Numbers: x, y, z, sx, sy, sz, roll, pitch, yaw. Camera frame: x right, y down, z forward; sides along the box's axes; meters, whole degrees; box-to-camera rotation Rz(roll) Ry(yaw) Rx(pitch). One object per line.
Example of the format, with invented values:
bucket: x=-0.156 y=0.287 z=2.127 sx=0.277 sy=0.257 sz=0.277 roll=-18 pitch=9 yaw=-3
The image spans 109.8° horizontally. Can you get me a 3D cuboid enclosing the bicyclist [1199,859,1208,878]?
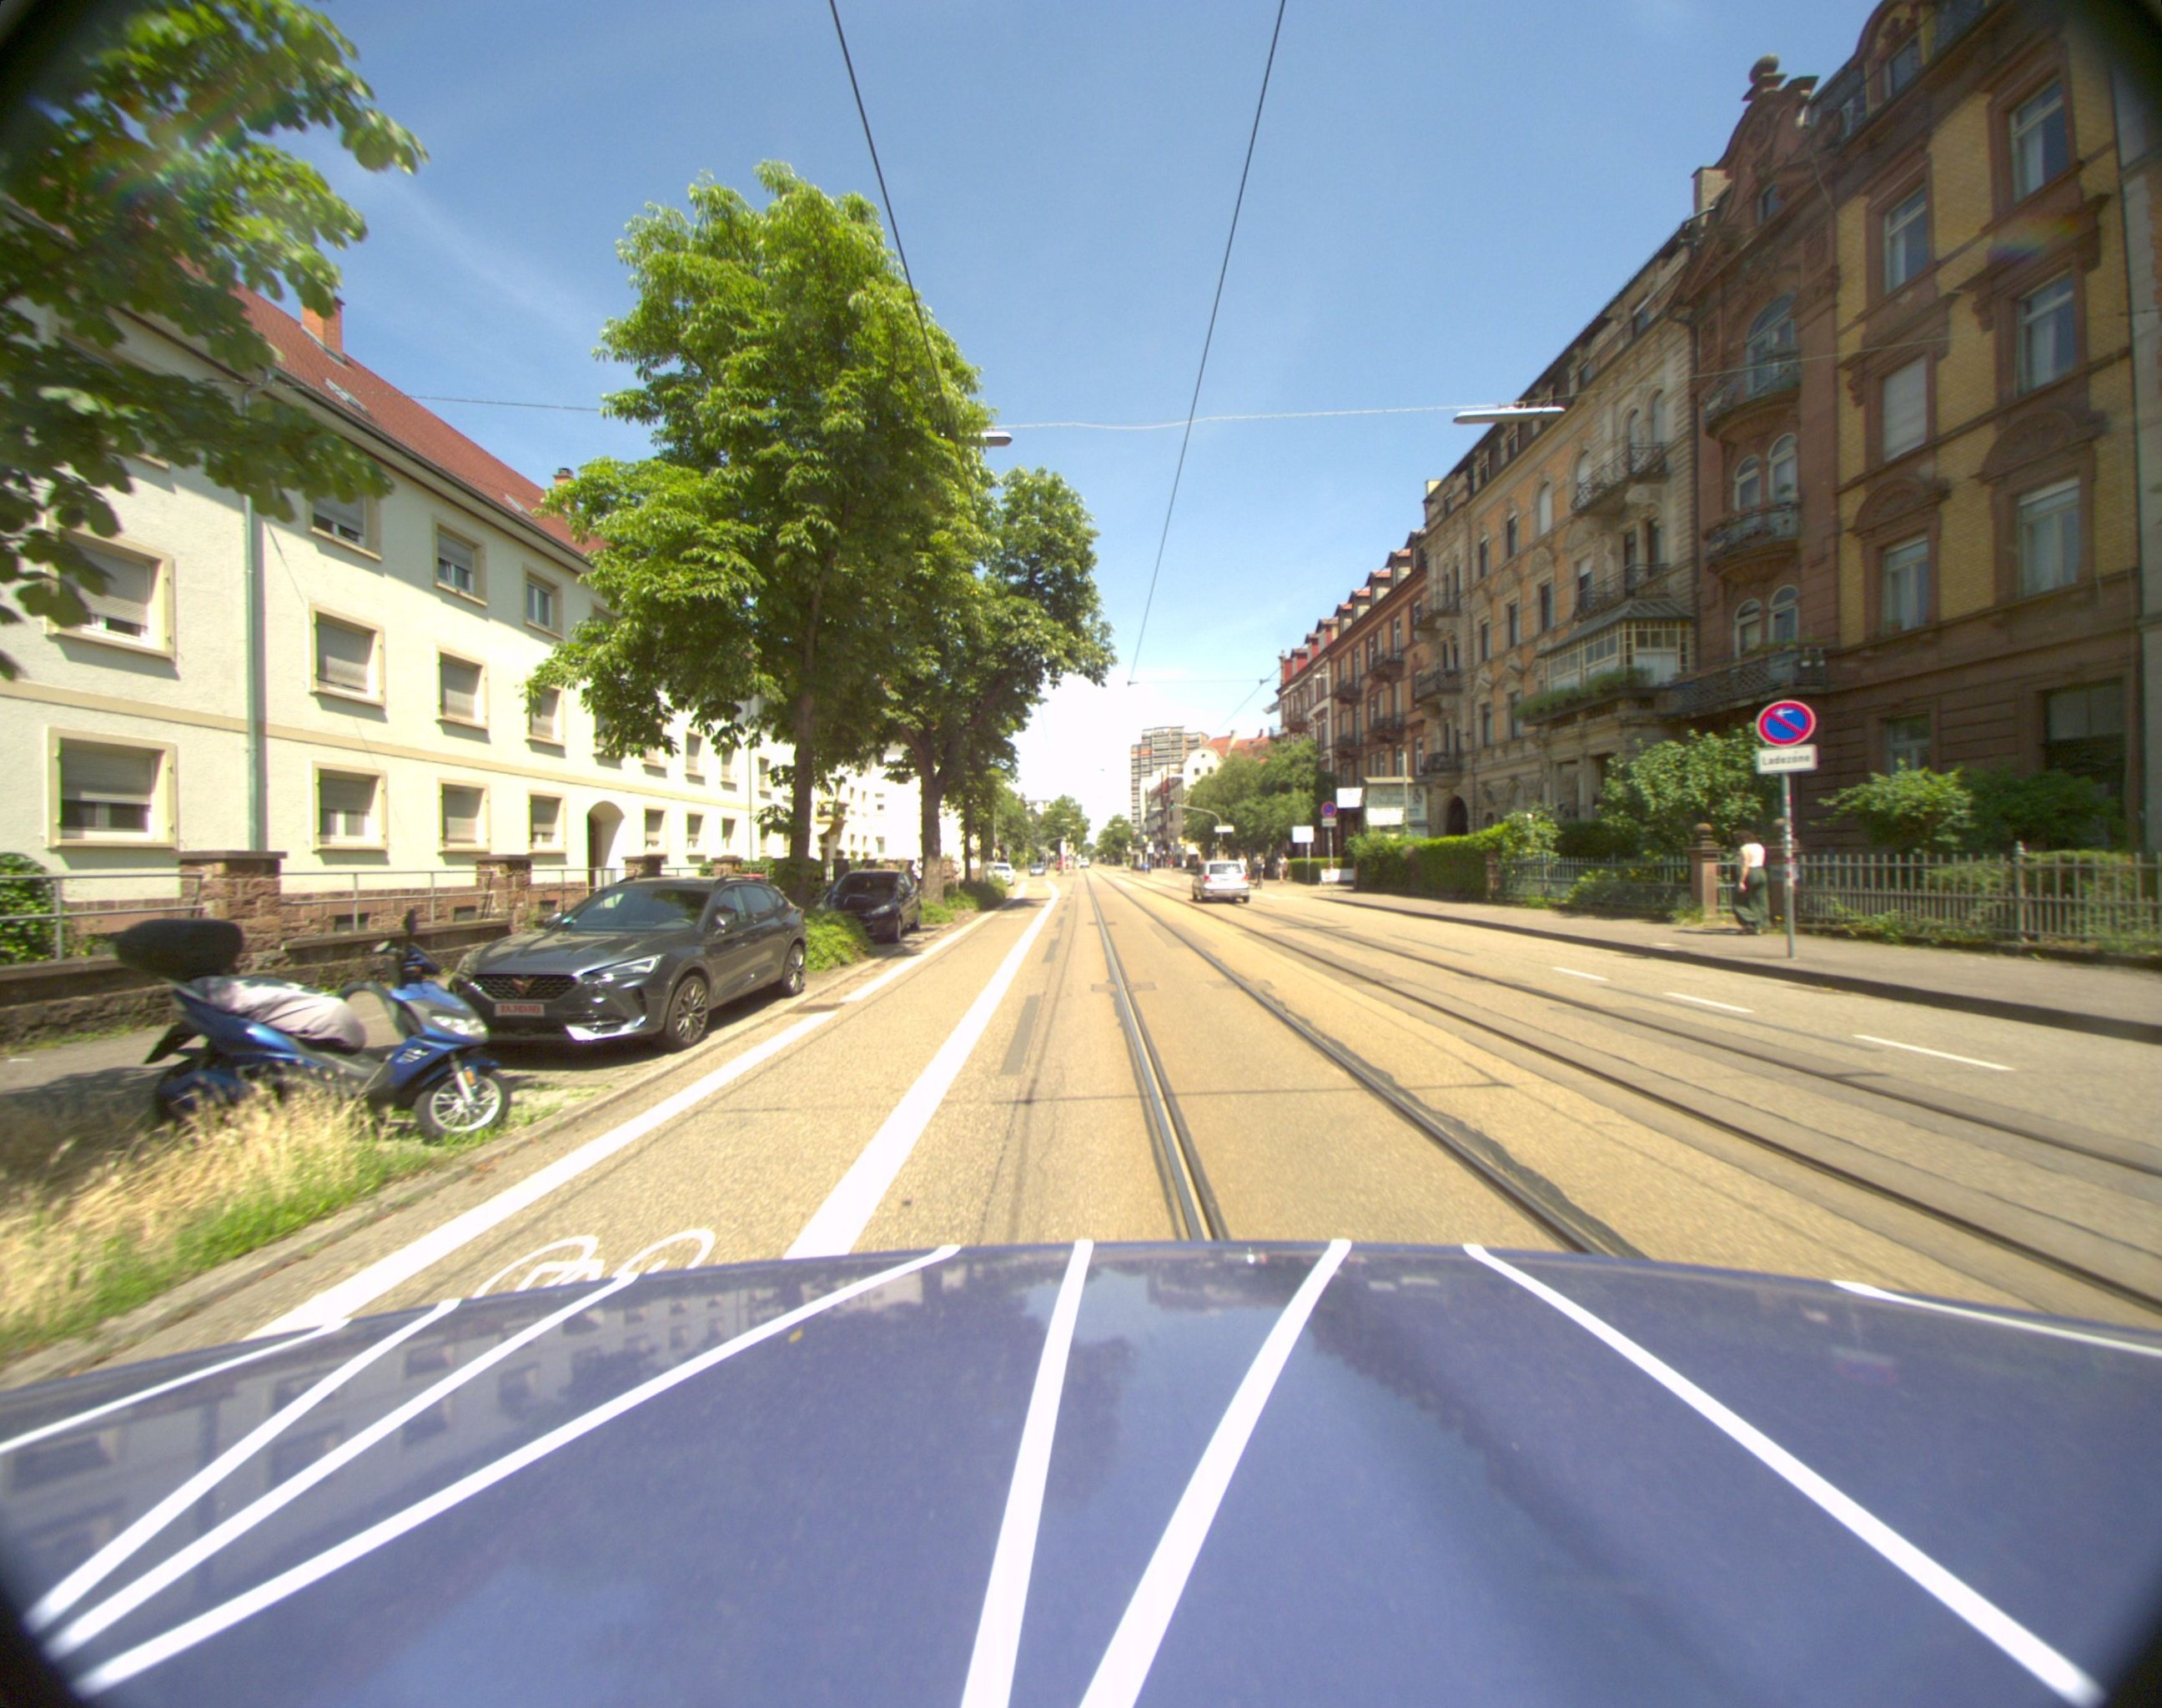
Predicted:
bicyclist: x=9.958 y=1.189 z=61.616 sx=0.564 sy=1.507 sz=0.892 roll=-1 pitch=0 yaw=1

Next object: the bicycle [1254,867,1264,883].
bicycle: x=12.848 y=1.507 z=54.900 sx=0.460 sy=1.050 sz=1.565 roll=-1 pitch=0 yaw=3

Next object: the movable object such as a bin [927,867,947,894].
movable object such as a bin: x=-6.680 y=1.232 z=35.327 sx=0.699 sy=1.179 sz=1.036 roll=2 pitch=0 yaw=-1

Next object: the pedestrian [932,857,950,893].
pedestrian: x=-6.685 y=1.006 z=36.283 sx=0.699 sy=1.660 sz=0.869 roll=2 pitch=0 yaw=-1

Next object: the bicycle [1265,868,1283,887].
bicycle: x=12.002 y=1.461 z=47.298 sx=0.639 sy=1.087 sz=1.931 roll=-3 pitch=0 yaw=3

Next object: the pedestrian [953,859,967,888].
pedestrian: x=-7.060 y=1.111 z=44.428 sx=0.699 sy=1.660 sz=0.756 roll=-1 pitch=0 yaw=-1

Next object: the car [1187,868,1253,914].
car: x=4.893 y=1.258 z=27.202 sx=1.689 sy=1.441 sz=4.000 roll=-1 pitch=0 yaw=1

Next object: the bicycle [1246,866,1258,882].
bicycle: x=12.831 y=1.489 z=57.055 sx=0.574 sy=1.162 sz=1.716 roll=-1 pitch=0 yaw=3

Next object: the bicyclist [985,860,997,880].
bicyclist: x=-6.684 y=1.162 z=56.300 sx=0.712 sy=1.443 sz=1.010 roll=-1 pitch=0 yaw=2

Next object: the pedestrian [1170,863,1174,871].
pedestrian: x=15.517 y=2.225 z=129.127 sx=0.537 sy=1.433 sz=0.520 roll=-1 pitch=0 yaw=-10

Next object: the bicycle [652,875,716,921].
bicycle: x=-10.695 y=1.158 z=20.544 sx=0.598 sy=1.119 sz=1.970 roll=2 pitch=0 yaw=1

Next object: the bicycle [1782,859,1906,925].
bicycle: x=12.564 y=0.620 z=12.534 sx=1.513 sy=1.037 sz=0.495 roll=-1 pitch=0 yaw=1

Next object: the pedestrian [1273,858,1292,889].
pedestrian: x=11.235 y=1.054 z=42.340 sx=0.874 sy=1.690 sz=1.014 roll=-1 pitch=0 yaw=6

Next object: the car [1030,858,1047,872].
car: x=-4.791 y=1.244 z=86.574 sx=1.737 sy=1.543 sz=4.423 roll=-1 pitch=0 yaw=-2

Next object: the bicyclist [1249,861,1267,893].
bicyclist: x=8.853 y=1.142 z=37.994 sx=0.635 sy=1.575 sz=1.028 roll=0 pitch=0 yaw=0

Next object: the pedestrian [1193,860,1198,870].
pedestrian: x=16.030 y=1.576 z=106.615 sx=0.537 sy=1.433 sz=0.520 roll=-1 pitch=0 yaw=-10

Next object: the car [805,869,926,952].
car: x=-4.580 y=1.135 z=16.733 sx=1.661 sy=1.506 sz=3.999 roll=-1 pitch=0 yaw=-3

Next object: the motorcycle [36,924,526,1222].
motorcycle: x=-4.506 y=1.183 z=4.429 sx=1.919 sy=1.425 sz=0.671 roll=-1 pitch=0 yaw=-9

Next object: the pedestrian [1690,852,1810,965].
pedestrian: x=10.877 y=0.851 z=12.402 sx=0.853 sy=1.713 sz=1.138 roll=-4 pitch=0 yaw=1

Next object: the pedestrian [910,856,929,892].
pedestrian: x=-7.630 y=0.951 z=35.949 sx=0.699 sy=1.660 sz=0.756 roll=2 pitch=0 yaw=-1

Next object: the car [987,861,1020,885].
car: x=-5.133 y=1.249 z=50.766 sx=1.782 sy=1.402 sz=4.156 roll=3 pitch=0 yaw=-1

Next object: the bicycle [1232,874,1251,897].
bicycle: x=8.034 y=1.544 z=38.061 sx=0.583 sy=1.072 sz=1.890 roll=0 pitch=0 yaw=0

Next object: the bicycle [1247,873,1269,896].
bicycle: x=8.850 y=1.524 z=38.080 sx=0.631 sy=1.072 sz=1.875 roll=0 pitch=0 yaw=0

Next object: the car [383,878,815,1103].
car: x=-4.375 y=1.087 z=7.908 sx=1.737 sy=1.543 sz=4.453 roll=-1 pitch=0 yaw=-2

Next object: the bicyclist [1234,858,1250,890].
bicyclist: x=8.037 y=0.993 z=38.041 sx=0.594 sy=1.535 sz=0.952 roll=0 pitch=0 yaw=0

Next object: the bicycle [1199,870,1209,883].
bicycle: x=9.968 y=1.826 z=61.596 sx=0.569 sy=1.032 sz=1.829 roll=-1 pitch=0 yaw=1
